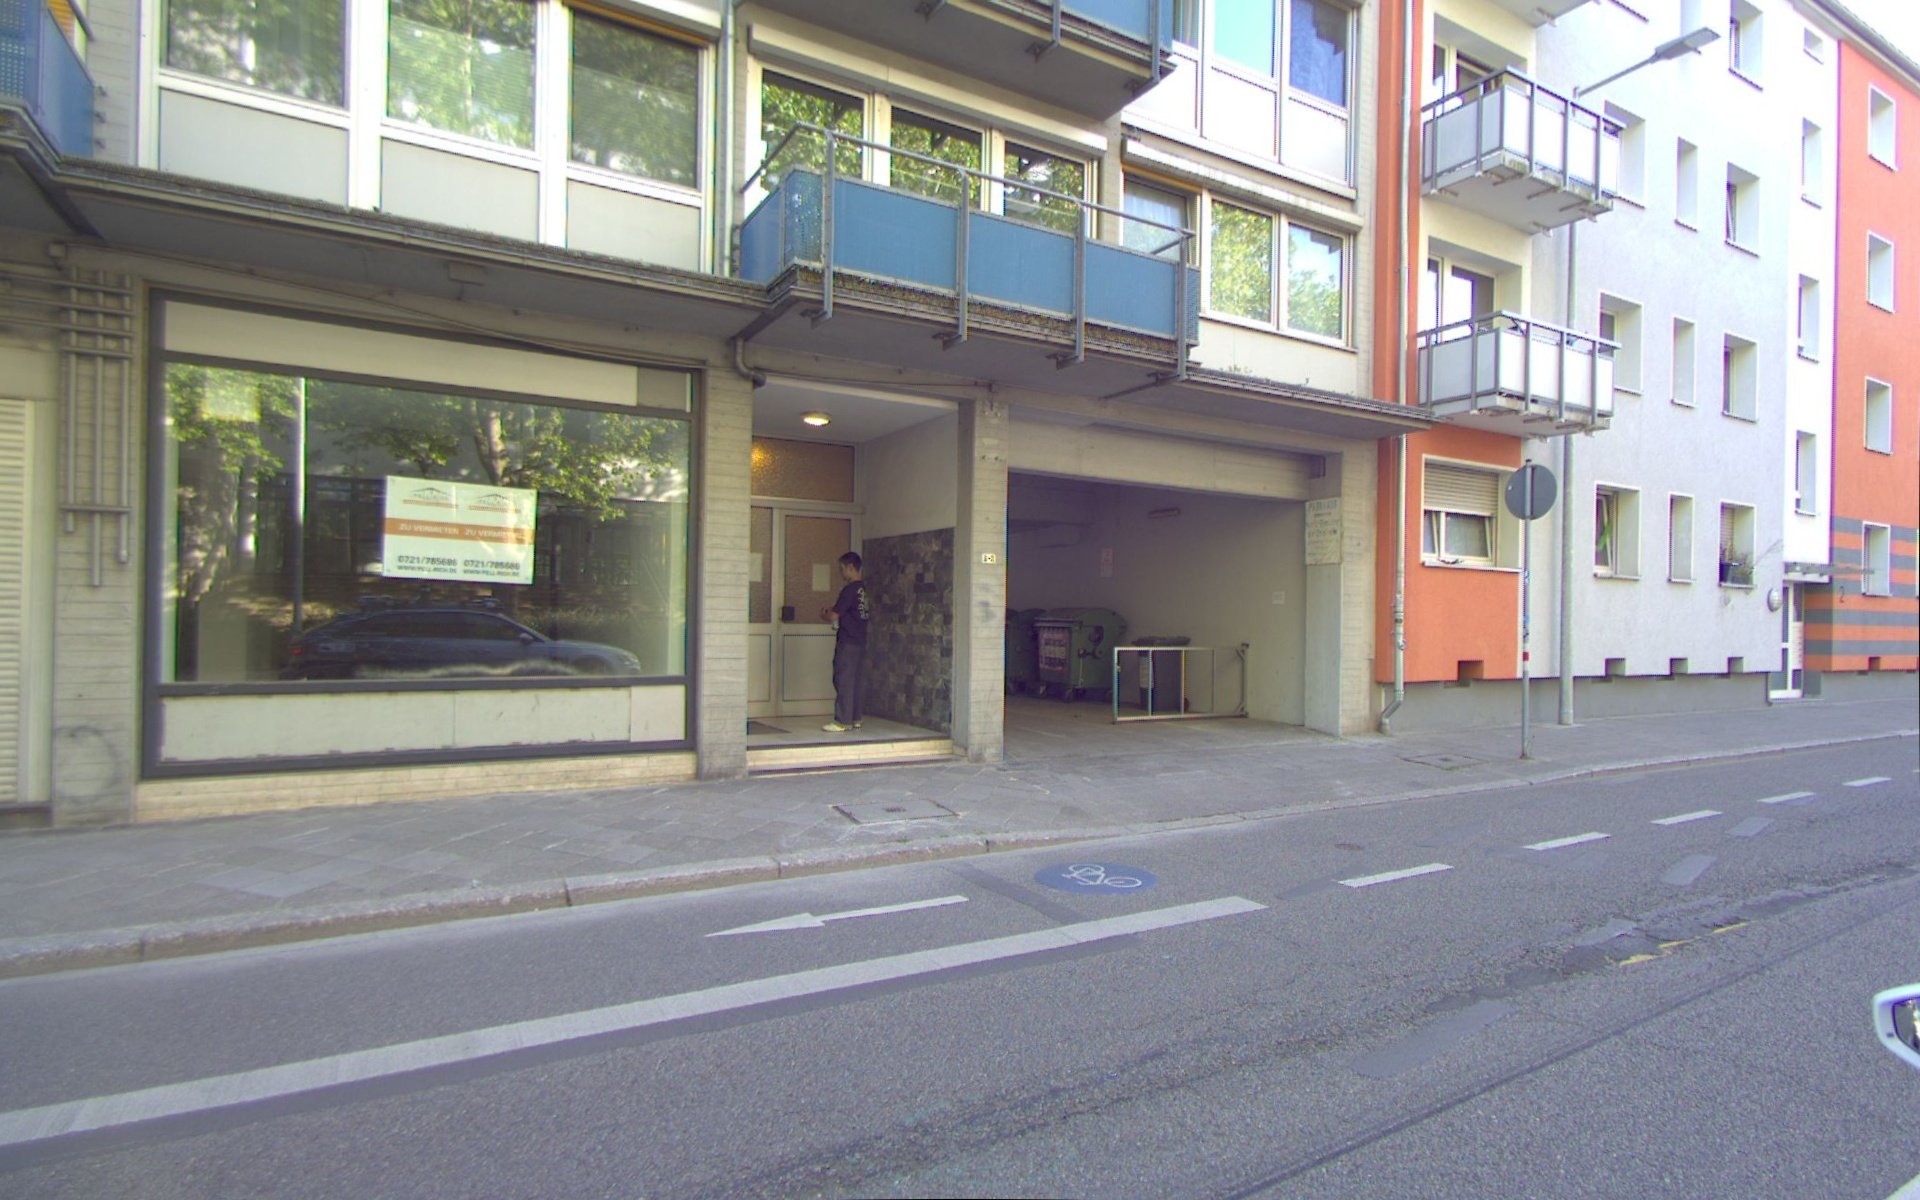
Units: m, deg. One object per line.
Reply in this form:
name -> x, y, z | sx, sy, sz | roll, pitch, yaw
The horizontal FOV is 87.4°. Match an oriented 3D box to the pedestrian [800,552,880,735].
pedestrian -> -1.201, 0.423, 10.119 | 0.518, 1.764, 0.630 | 1, 0, 27

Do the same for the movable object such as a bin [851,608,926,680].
movable object such as a bin -> -1.477, 0.881, 20.663 | 1.014, 1.409, 1.264 | 1, 0, -37

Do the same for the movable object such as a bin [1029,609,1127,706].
movable object such as a bin -> 1.835, 0.872, 15.831 | 1.009, 1.438, 1.321 | 1, 0, -23

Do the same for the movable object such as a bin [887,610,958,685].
movable object such as a bin -> -0.740, 0.909, 19.674 | 1.012, 1.409, 1.046 | 1, 0, -31

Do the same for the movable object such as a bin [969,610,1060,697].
movable object such as a bin -> 0.913, 0.892, 17.165 | 1.010, 1.409, 1.319 | 1, 0, -27

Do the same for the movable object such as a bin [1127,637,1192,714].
movable object such as a bin -> 2.878, 1.072, 14.507 | 0.704, 1.054, 0.583 | 1, 0, -30

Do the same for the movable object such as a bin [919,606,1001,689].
movable object such as a bin -> -0.014, 0.853, 18.675 | 1.011, 1.462, 1.318 | 1, 0, -29
